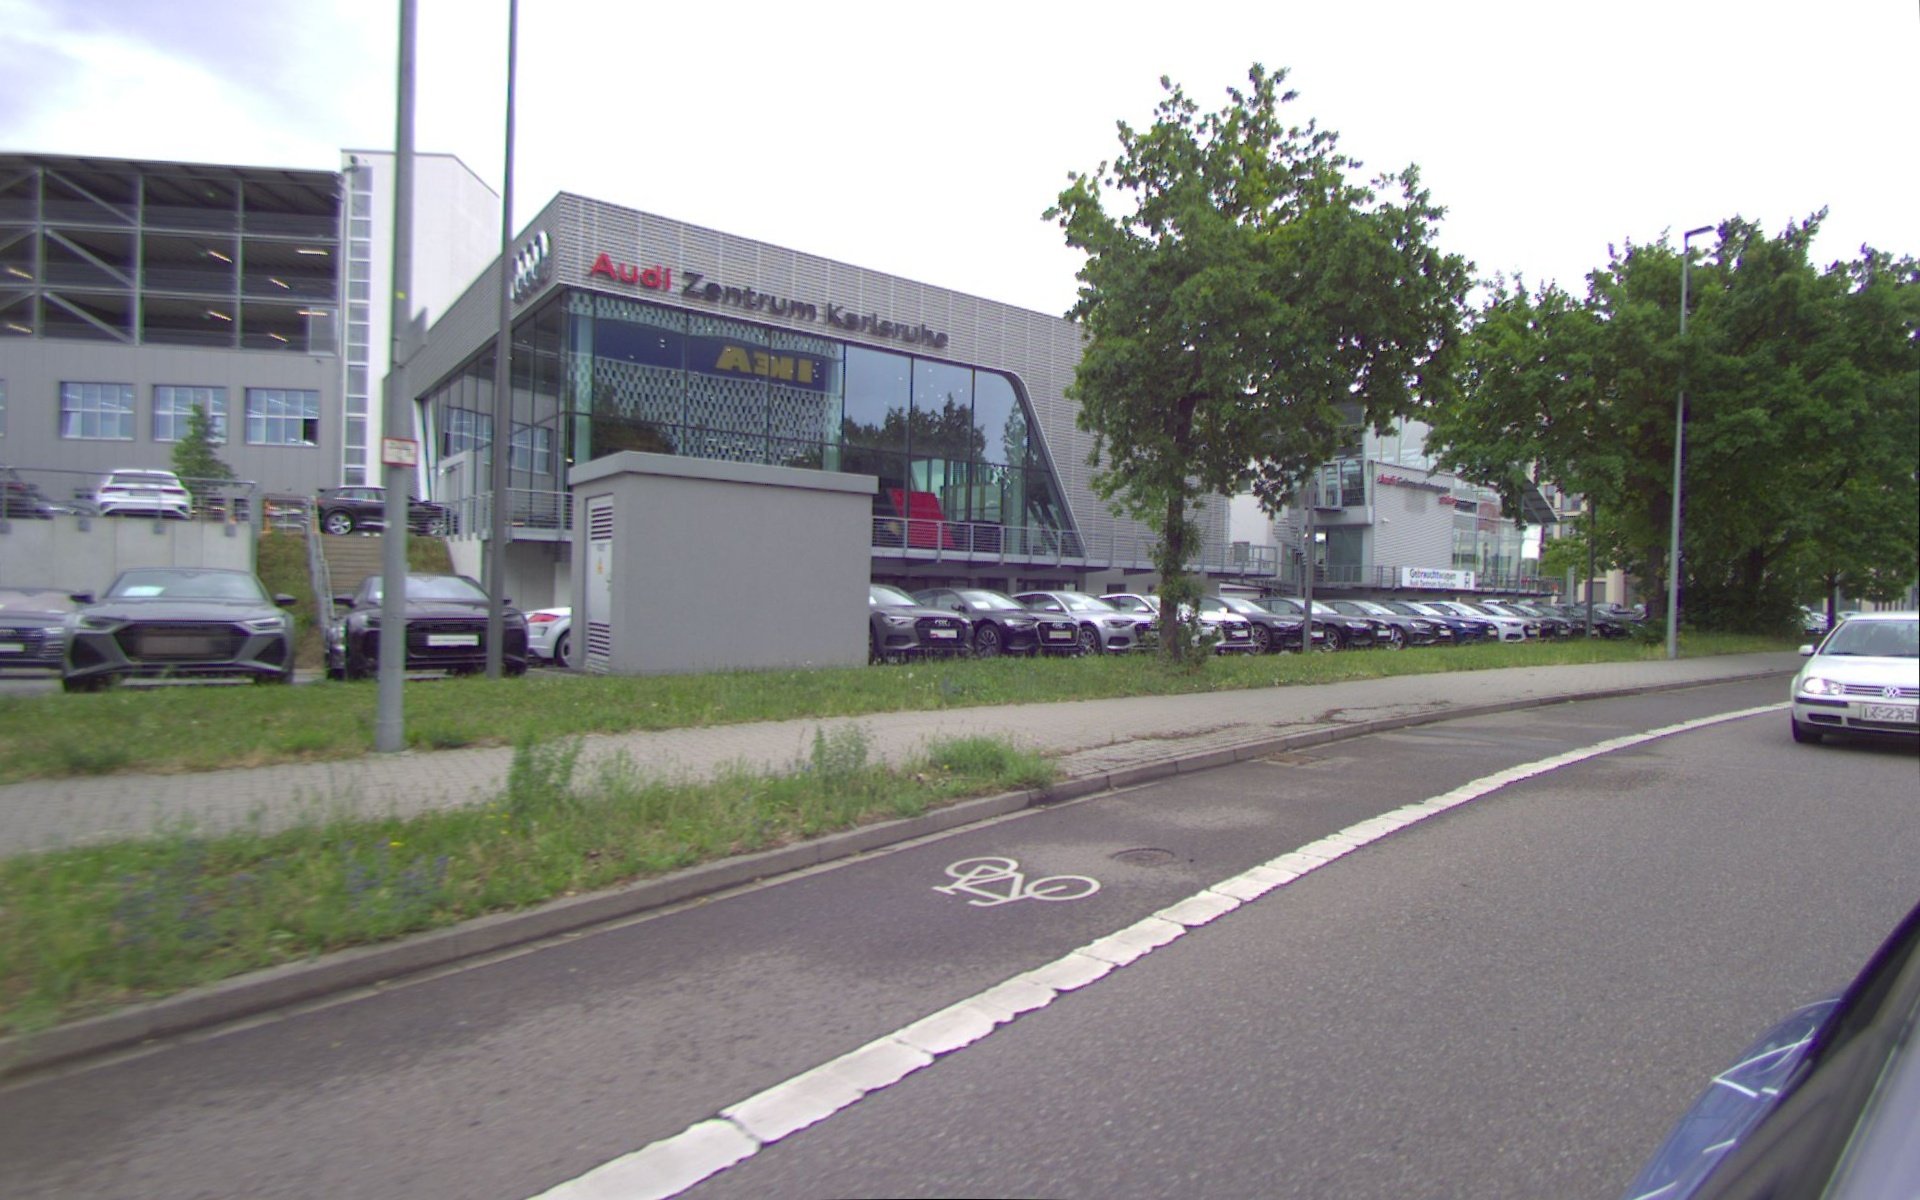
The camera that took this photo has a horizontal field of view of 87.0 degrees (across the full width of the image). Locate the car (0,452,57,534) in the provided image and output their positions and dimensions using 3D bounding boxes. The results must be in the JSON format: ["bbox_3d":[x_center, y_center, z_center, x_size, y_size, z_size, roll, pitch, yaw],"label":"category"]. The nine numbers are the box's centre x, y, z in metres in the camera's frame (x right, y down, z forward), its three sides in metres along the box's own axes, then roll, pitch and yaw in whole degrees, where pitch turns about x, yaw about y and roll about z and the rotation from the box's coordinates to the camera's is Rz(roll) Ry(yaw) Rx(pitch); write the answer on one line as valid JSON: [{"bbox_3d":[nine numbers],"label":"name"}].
[{"bbox_3d":[-21.903,-2.394,22.721,2.031,1.515,4.347,3,-1,-38],"label":"car"}]

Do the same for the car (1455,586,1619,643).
[{"bbox_3d":[18.737,0.544,33.052,1.791,1.506,4.216,3,-7,-37],"label":"car"}]

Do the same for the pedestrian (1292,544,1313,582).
[{"bbox_3d":[19.031,-2.042,56.226,0.785,2.039,0.746,3,-2,-38],"label":"pedestrian"}]

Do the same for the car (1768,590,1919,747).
[{"bbox_3d":[10.592,0.695,11.017,3.929,1.496,1.838,2,-1,-36],"label":"car"}]

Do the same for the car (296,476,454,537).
[{"bbox_3d":[-18.612,-2.915,32.279,4.104,1.454,1.729,3,-1,-38],"label":"car"}]

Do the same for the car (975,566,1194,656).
[{"bbox_3d":[2.396,0.313,20.504,1.990,1.525,4.305,1,-5,-35],"label":"car"}]

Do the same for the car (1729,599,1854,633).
[{"bbox_3d":[38.743,0.760,47.234,1.873,1.505,4.187,1,-2,-37],"label":"car"}]

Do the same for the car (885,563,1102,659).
[{"bbox_3d":[0.501,0.307,18.974,1.922,1.465,4.186,3,-6,-35],"label":"car"}]

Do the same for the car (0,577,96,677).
[{"bbox_3d":[-16.845,0.506,18.066,1.829,1.628,3.997,3,-4,-37],"label":"car"}]

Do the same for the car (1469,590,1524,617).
[{"bbox_3d":[42.372,0.236,79.883,4.819,2.039,1.999,-1,1,-38],"label":"car"}]

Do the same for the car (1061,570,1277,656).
[{"bbox_3d":[4.413,0.378,22.025,1.962,1.541,4.404,3,-6,-36],"label":"car"}]

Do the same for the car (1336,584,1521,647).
[{"bbox_3d":[12.811,0.494,27.928,1.939,1.506,4.192,3,-5,-36],"label":"car"}]

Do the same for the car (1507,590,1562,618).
[{"bbox_3d":[44.087,0.267,77.621,4.819,2.039,1.999,-1,1,-38],"label":"car"}]

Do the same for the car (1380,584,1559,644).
[{"bbox_3d":[14.764,0.481,29.510,1.922,1.506,4.205,3,-5,-37],"label":"car"}]

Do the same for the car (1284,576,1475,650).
[{"bbox_3d":[10.869,0.417,26.482,1.962,1.685,4.186,3,-5,-35],"label":"car"}]

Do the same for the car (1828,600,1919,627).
[{"bbox_3d":[53.337,0.757,58.696,1.840,1.505,4.228,0,0,-36],"label":"car"}]

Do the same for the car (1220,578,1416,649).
[{"bbox_3d":[8.655,0.415,24.822,1.896,1.476,4.186,3,-5,-35],"label":"car"}]

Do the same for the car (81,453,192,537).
[{"bbox_3d":[-19.578,-2.427,24.204,1.847,1.515,4.347,3,-1,-38],"label":"car"}]

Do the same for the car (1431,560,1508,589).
[{"bbox_3d":[32.541,-1.607,64.692,1.791,1.683,3.997,3,-1,-38],"label":"car"}]

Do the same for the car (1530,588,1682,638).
[{"bbox_3d":[22.909,0.516,36.029,1.836,1.413,4.131,3,-7,-37],"label":"car"}]

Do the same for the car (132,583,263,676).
[{"bbox_3d":[-14.901,0.606,19.838,1.829,1.628,3.997,3,-4,-37],"label":"car"}]

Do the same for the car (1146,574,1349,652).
[{"bbox_3d":[6.547,0.393,23.444,1.962,1.489,4.186,3,-6,-35],"label":"car"}]

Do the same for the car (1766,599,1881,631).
[{"bbox_3d":[42.996,0.781,50.452,1.842,1.505,4.042,1,-2,-36],"label":"car"}]

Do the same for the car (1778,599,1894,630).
[{"bbox_3d":[45.033,0.782,52.119,1.818,1.505,4.196,1,-2,-36],"label":"car"}]

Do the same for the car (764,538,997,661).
[{"bbox_3d":[-1.524,0.138,17.536,1.962,1.725,4.561,3,-6,-35],"label":"car"}]

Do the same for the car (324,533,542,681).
[{"bbox_3d":[-6.994,0.165,13.190,1.962,1.585,4.271,0,-3,-35],"label":"car"}]

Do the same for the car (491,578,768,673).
[{"bbox_3d":[-5.384,0.379,16.642,3.925,1.349,1.925,1,1,-37],"label":"car"}]

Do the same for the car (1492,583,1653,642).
[{"bbox_3d":[20.803,0.489,34.512,1.841,1.624,4.245,3,-7,-37],"label":"car"}]

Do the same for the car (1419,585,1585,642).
[{"bbox_3d":[16.544,0.473,31.072,1.785,1.506,4.072,3,-5,-37],"label":"car"}]

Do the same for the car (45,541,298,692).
[{"bbox_3d":[-8.966,0.249,11.780,1.962,1.411,4.305,0,-3,-35],"label":"car"}]

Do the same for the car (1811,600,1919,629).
[{"bbox_3d":[51.078,0.825,56.979,2.032,1.505,4.512,-1,-1,-38],"label":"car"}]
